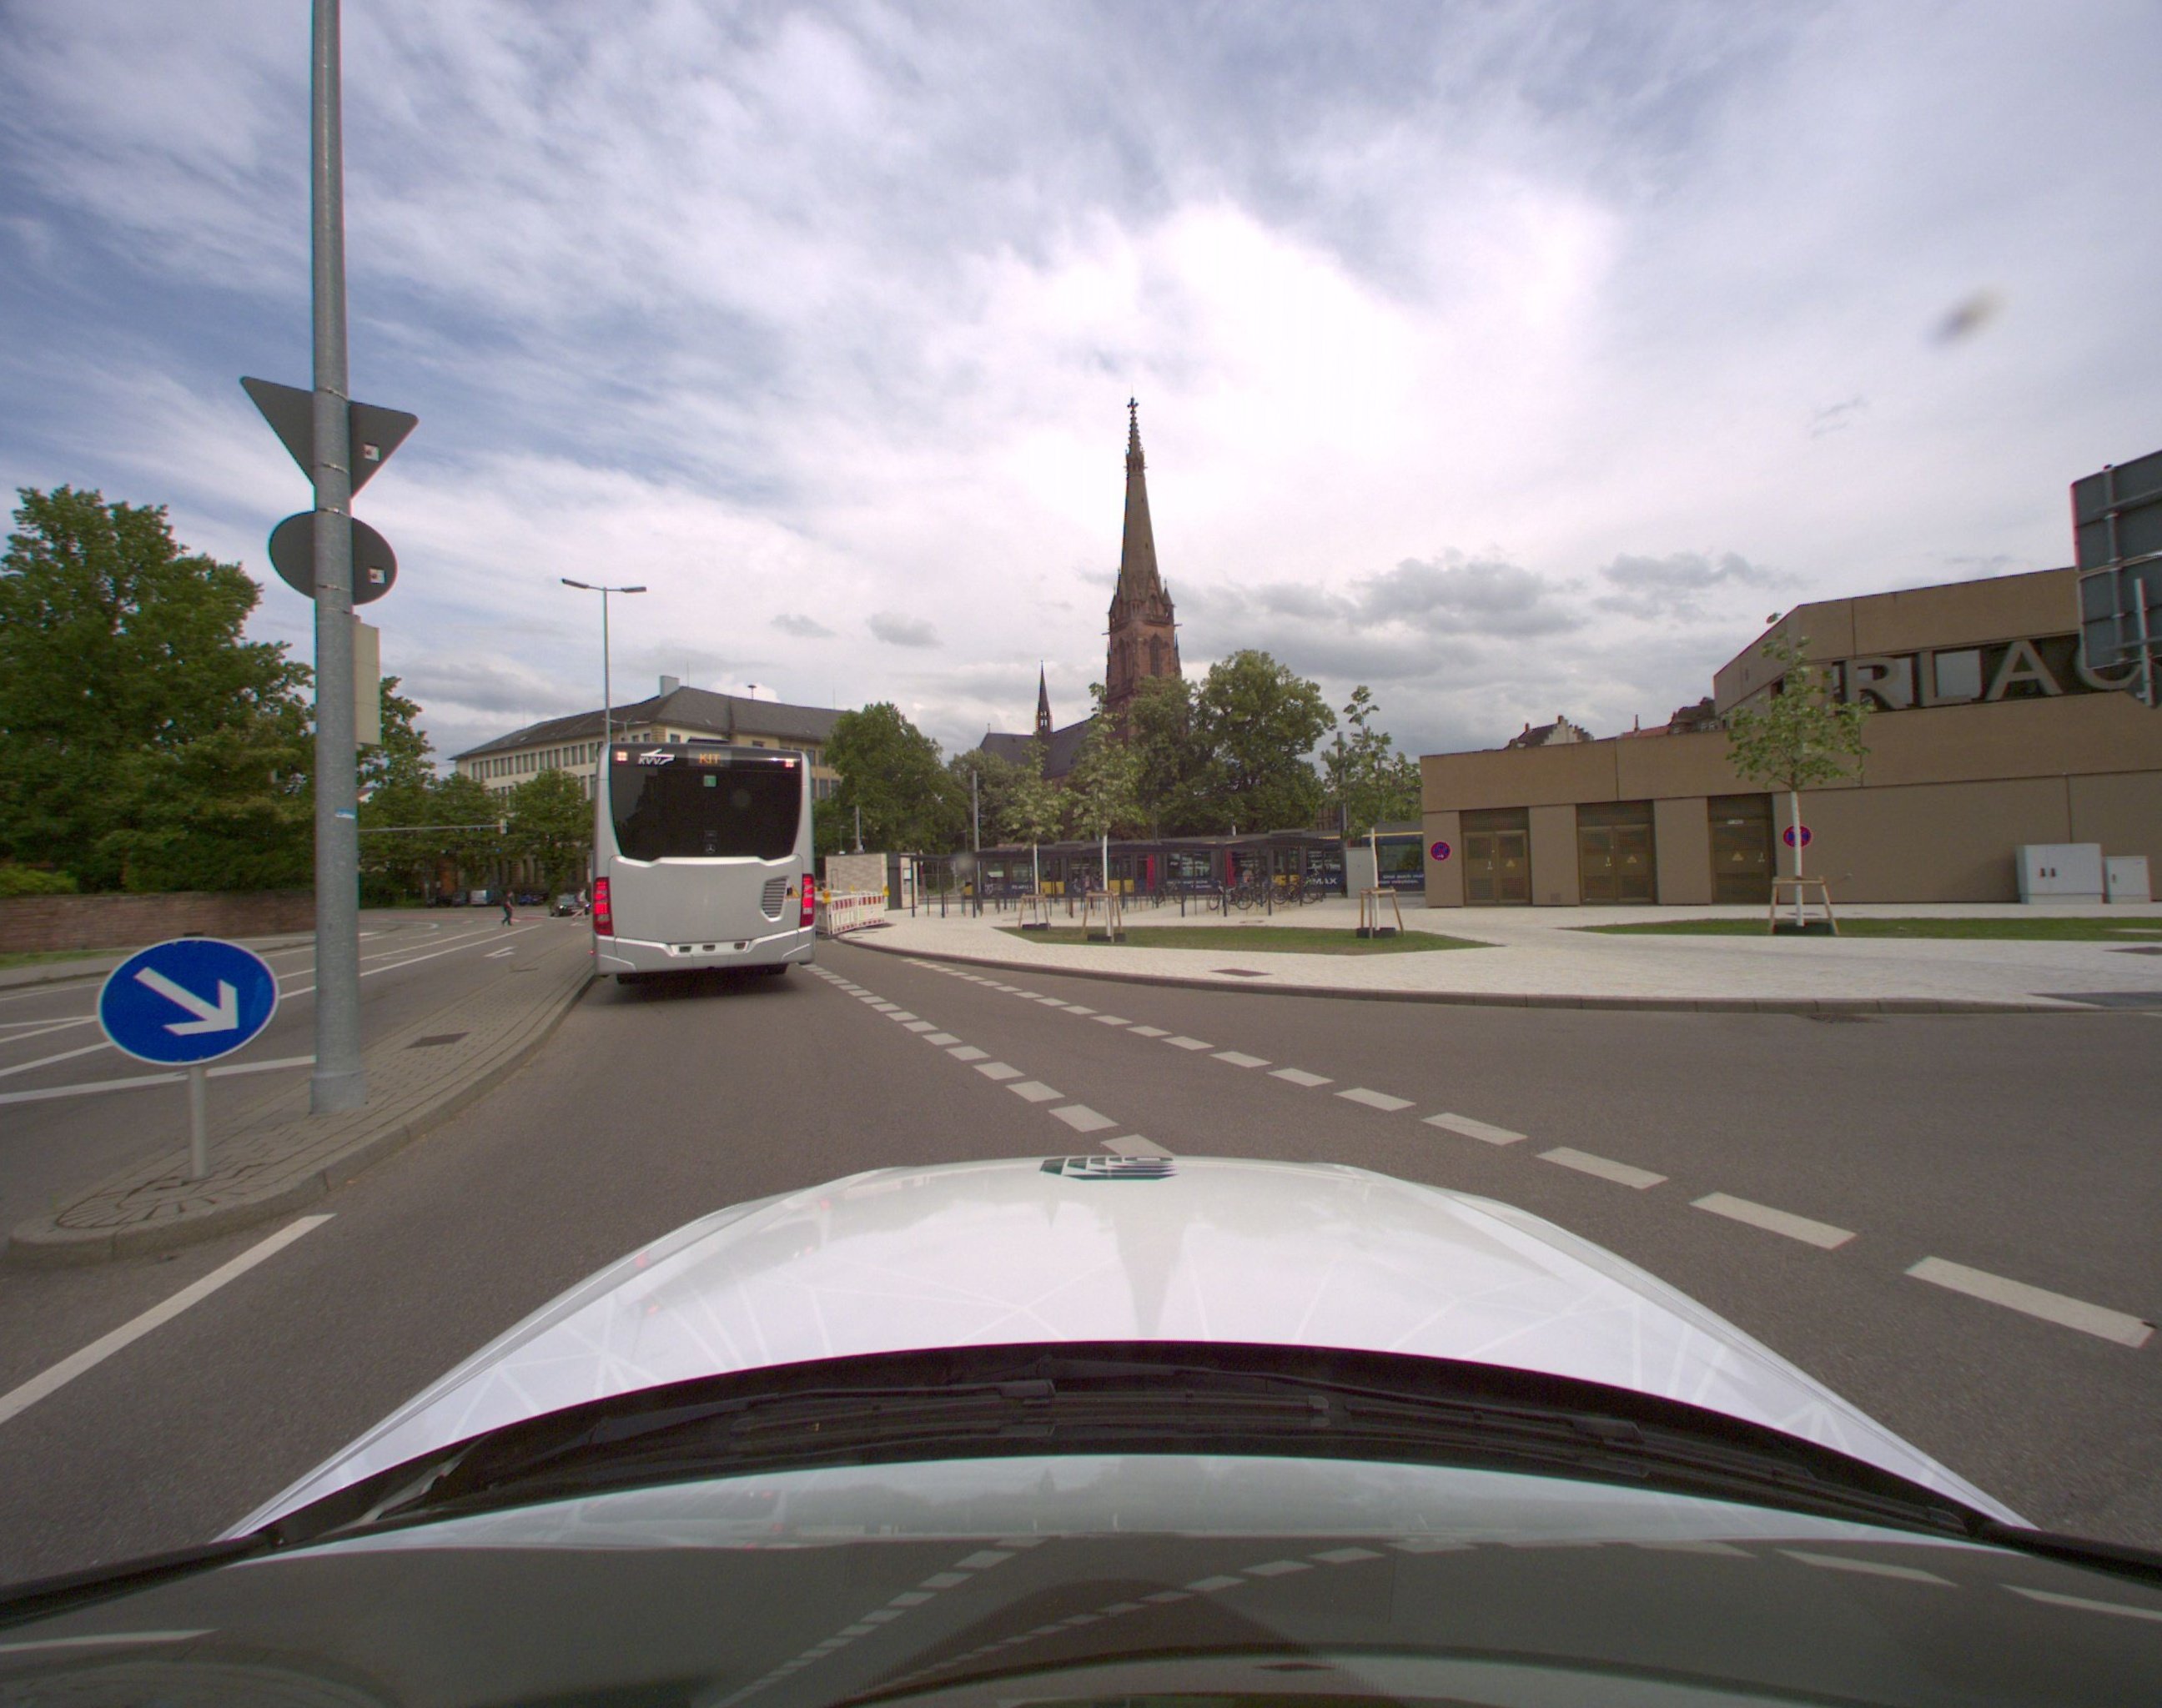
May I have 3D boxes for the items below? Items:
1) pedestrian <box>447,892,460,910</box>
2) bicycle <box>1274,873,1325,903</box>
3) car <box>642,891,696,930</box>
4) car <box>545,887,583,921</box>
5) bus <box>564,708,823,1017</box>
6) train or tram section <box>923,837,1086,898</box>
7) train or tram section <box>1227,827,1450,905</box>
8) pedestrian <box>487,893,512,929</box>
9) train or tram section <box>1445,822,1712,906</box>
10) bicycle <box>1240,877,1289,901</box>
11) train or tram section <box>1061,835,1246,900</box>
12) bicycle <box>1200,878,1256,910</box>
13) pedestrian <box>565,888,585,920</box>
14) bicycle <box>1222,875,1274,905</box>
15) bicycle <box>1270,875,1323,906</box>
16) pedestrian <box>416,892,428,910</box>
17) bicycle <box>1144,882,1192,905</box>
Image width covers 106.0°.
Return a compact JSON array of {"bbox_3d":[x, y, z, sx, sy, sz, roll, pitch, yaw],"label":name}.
[{"bbox_3d":[-72.964,5.440,94.715,0.996,2.014,0.895,-3,-2,36],"label":"pedestrian"},{"bbox_3d":[8.876,1.381,33.042,1.944,1.156,0.587,-1,0,18],"label":"bicycle"},{"bbox_3d":[-18.370,2.484,36.393,2.004,1.361,4.237,-1,1,-26],"label":"car"},{"bbox_3d":[-34.551,3.286,54.384,2.008,2.013,3.957,-1,1,-34],"label":"car"},{"bbox_3d":[-7.669,0.413,15.955,2.719,3.439,14.056,-1,-2,-27],"label":"bus"},{"bbox_3d":[-4.547,0.763,47.826,9.252,3.277,3.081,-1,1,27],"label":"train or tram section"},{"bbox_3d":[12.298,0.554,39.222,9.805,3.450,3.081,-1,1,27],"label":"train or tram section"},{"bbox_3d":[-29.206,2.867,40.905,0.800,1.711,0.833,-1,0,-23],"label":"pedestrian"},{"bbox_3d":[20.819,0.408,34.860,9.382,3.246,3.081,-1,1,27],"label":"train or tram section"},{"bbox_3d":[7.816,1.475,34.720,1.942,0.970,0.587,-1,0,24],"label":"bicycle"},{"bbox_3d":[3.801,0.710,43.590,9.311,3.212,3.081,-1,1,27],"label":"train or tram section"},{"bbox_3d":[5.434,1.476,30.122,1.944,1.156,0.587,-1,0,18],"label":"bicycle"},{"bbox_3d":[-27.830,2.731,44.809,0.800,1.711,0.833,-1,0,-23],"label":"pedestrian"},{"bbox_3d":[6.699,1.426,32.622,1.944,1.156,0.587,-1,0,18],"label":"bicycle"},{"bbox_3d":[8.387,1.405,31.662,1.944,1.156,0.587,-1,0,18],"label":"bicycle"},{"bbox_3d":[-78.452,5.616,96.997,0.996,2.014,0.895,-3,-2,36],"label":"pedestrian"},{"bbox_3d":[3.765,1.721,35.354,1.942,0.955,0.587,-1,0,24],"label":"bicycle"}]
